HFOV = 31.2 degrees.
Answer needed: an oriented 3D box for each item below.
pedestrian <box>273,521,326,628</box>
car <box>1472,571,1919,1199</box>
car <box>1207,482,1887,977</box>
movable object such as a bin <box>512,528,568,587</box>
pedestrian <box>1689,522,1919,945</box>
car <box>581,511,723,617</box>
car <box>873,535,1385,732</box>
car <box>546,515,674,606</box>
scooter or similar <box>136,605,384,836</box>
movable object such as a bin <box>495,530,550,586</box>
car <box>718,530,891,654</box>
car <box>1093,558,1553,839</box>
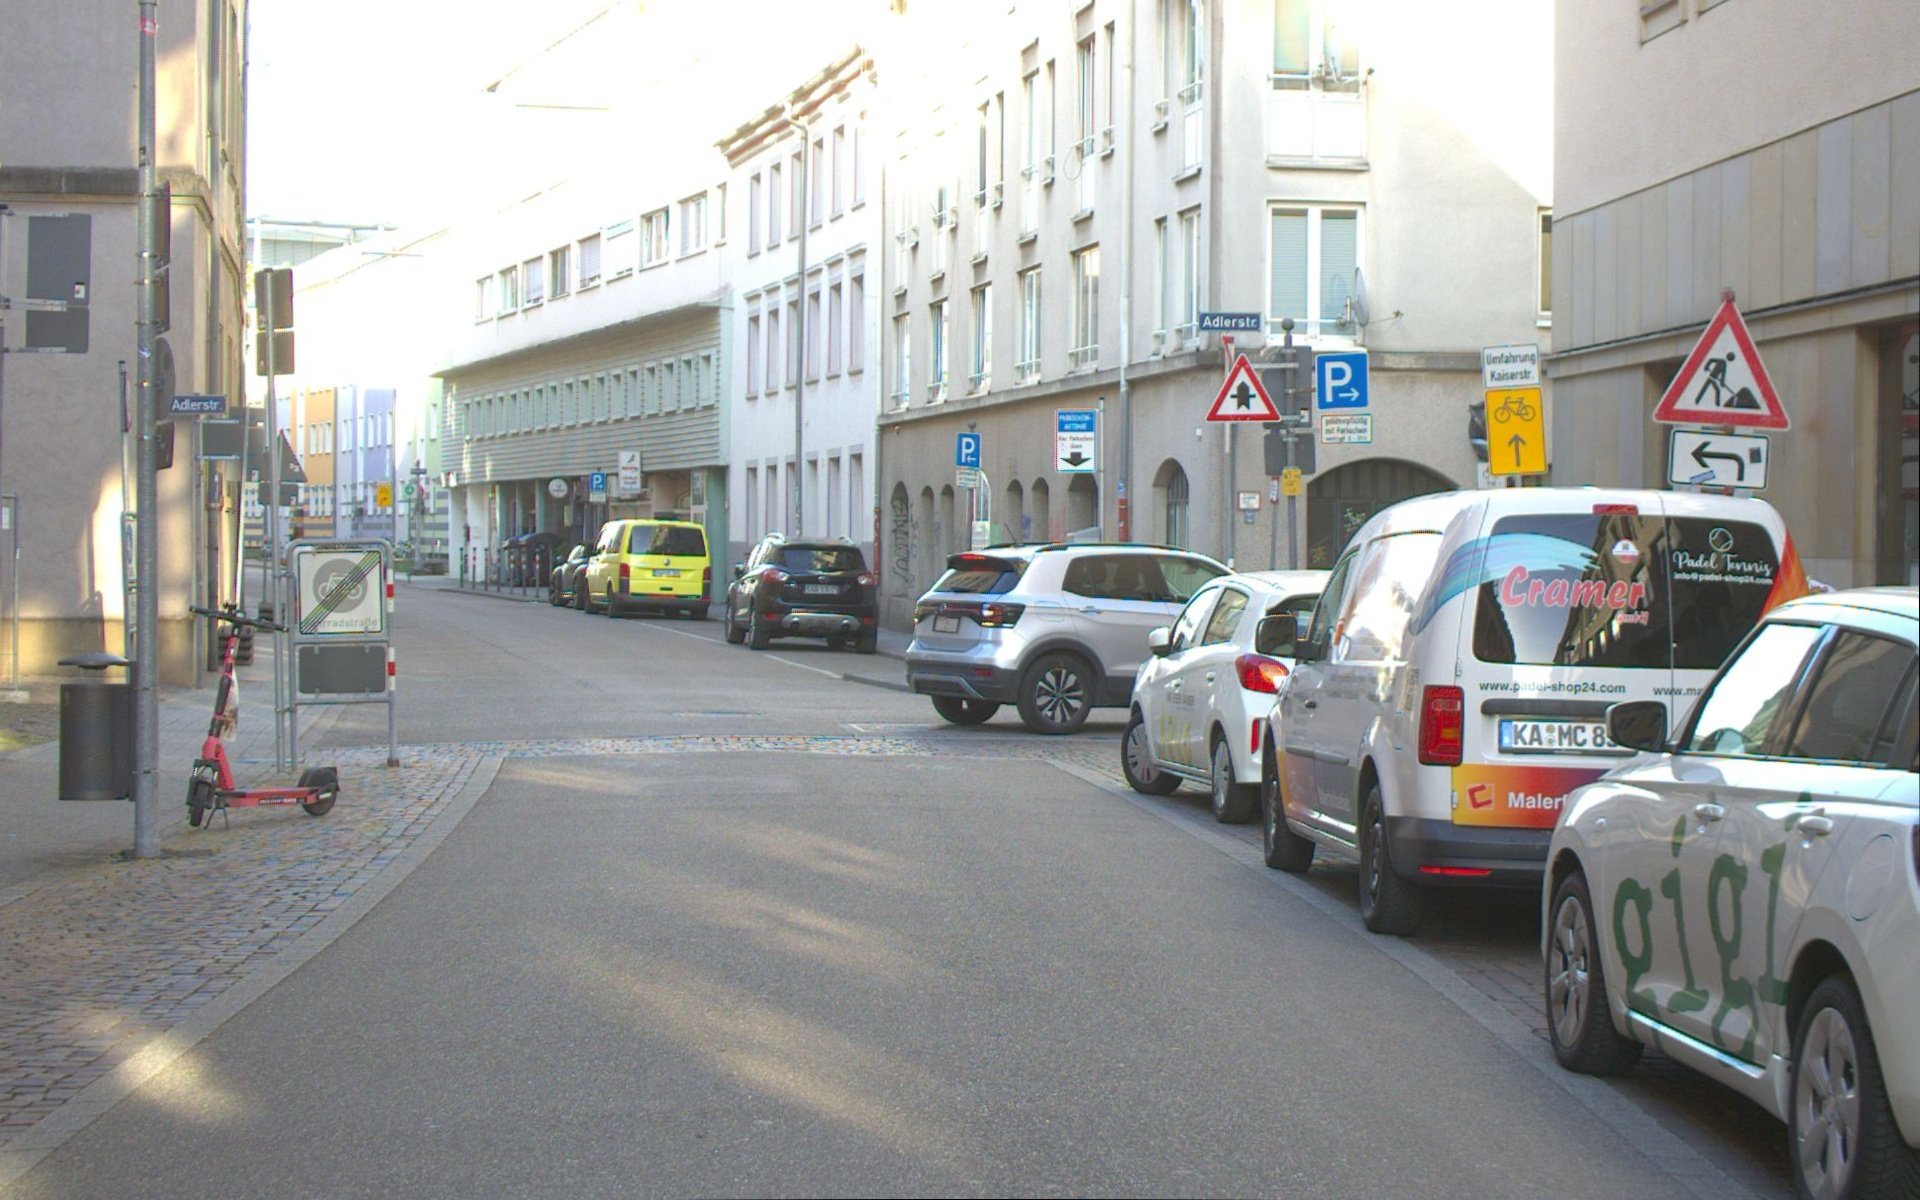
[{"bbox_3d":[-10.764,-0.416,56.028,0.765,1.718,0.687,1,1,-16],"label":"pedestrian"},{"bbox_3d":[2.727,0.735,9.030,1.840,1.473,4.169,3,1,-3],"label":"car"},{"bbox_3d":[2.363,0.440,15.323,1.830,1.785,5.214,2,1,-3],"label":"car"},{"bbox_3d":[-11.156,-1.131,91.346,1.131,1.552,1.740,1,1,-19],"label":"movable object such as a bin"},{"bbox_3d":[3.912,0.566,15.224,1.042,1.795,1.199,1,0,-3],"label":"pedestrian"},{"bbox_3d":[-6.077,-0.733,67.333,2.052,2.007,4.176,0,1,-15],"label":"car"},{"bbox_3d":[1.452,0.236,29.247,3.987,1.557,1.843,-1,1,-30],"label":"car"},{"bbox_3d":[-7.476,-0.856,73.058,2.052,1.866,4.102,0,1,-15],"label":"car"},{"bbox_3d":[-3.912,0.650,19.299,0.698,1.213,1.355,0,1,25],"label":"scooter or similar"},{"bbox_3d":[-11.832,-1.148,93.019,1.131,1.474,1.740,1,1,-19],"label":"movable object such as a bin"},{"bbox_3d":[-2.352,-0.155,51.030,1.967,1.686,4.102,2,1,-11],"label":"car"},{"bbox_3d":[2.116,0.534,21.269,1.888,1.513,4.064,1,1,-8],"label":"car"}]
